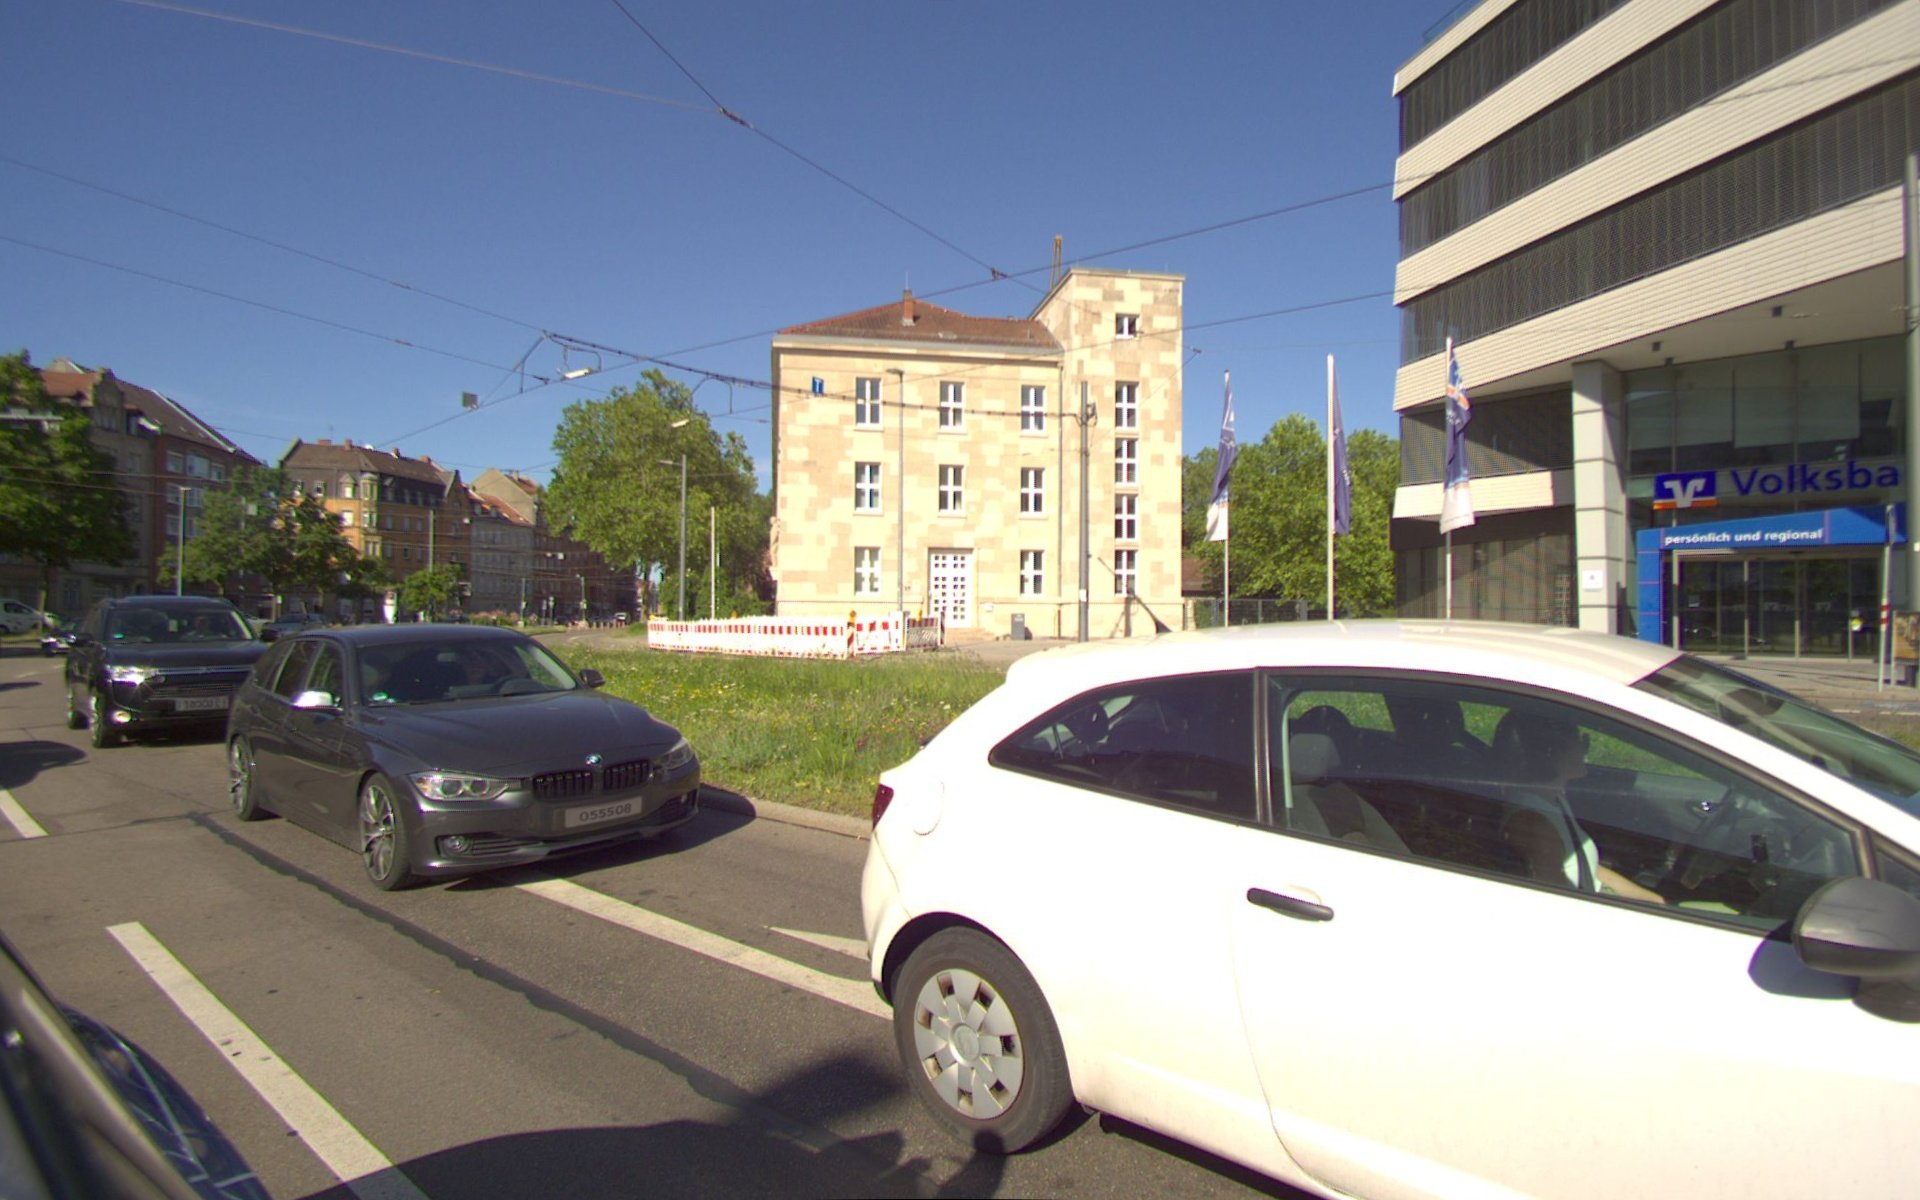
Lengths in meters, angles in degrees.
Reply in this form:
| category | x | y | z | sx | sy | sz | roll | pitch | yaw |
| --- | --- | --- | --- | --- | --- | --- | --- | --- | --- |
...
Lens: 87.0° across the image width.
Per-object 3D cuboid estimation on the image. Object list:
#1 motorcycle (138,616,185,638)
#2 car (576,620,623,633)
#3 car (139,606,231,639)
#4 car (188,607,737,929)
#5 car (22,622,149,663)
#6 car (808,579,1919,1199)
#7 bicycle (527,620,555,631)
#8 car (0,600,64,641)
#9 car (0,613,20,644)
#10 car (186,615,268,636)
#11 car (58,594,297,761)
| category | x | y | z | sx | sy | sz | roll | pitch | yaw |
| --- | --- | --- | --- | --- | --- | --- | --- | --- | --- |
| motorcycle | -53.095 | 1.823 | 67.303 | 0.851 | 1.431 | 2.238 | 0 | -3 | 30 |
| car | -42.693 | 3.131 | 120.005 | 4.888 | 1.464 | 1.837 | 1 | -2 | -3 |
| car | -53.791 | 1.569 | 70.293 | 2.022 | 2.091 | 4.809 | -1 | -3 | 45 |
| car | -3.579 | 0.817 | 6.836 | 4.465 | 1.434 | 1.716 | -1 | 1 | 41 |
| car | -32.719 | 1.548 | 38.028 | 1.859 | 1.438 | 4.388 | 0 | -1 | -14 |
| car | 1.516 | 0.699 | 2.362 | 3.780 | 1.434 | 1.615 | -1 | 1 | 41 |
| bicycle | -60.353 | 3.654 | 146.014 | 1.940 | 1.427 | 6.837 | 1 | -1 | -7 |
| car | -50.253 | 1.027 | 52.775 | 5.105 | 2.028 | 2.104 | 3 | -2 | -40 |
| car | -49.066 | 1.345 | 49.856 | 3.970 | 1.490 | 1.814 | 4 | -2 | -44 |
| car | -55.637 | 1.948 | 76.893 | 4.807 | 1.446 | 2.022 | 4 | -3 | -44 |
| car | -9.848 | 0.824 | 12.582 | 1.815 | 1.695 | 4.645 | 0 | -1 | -45 |
